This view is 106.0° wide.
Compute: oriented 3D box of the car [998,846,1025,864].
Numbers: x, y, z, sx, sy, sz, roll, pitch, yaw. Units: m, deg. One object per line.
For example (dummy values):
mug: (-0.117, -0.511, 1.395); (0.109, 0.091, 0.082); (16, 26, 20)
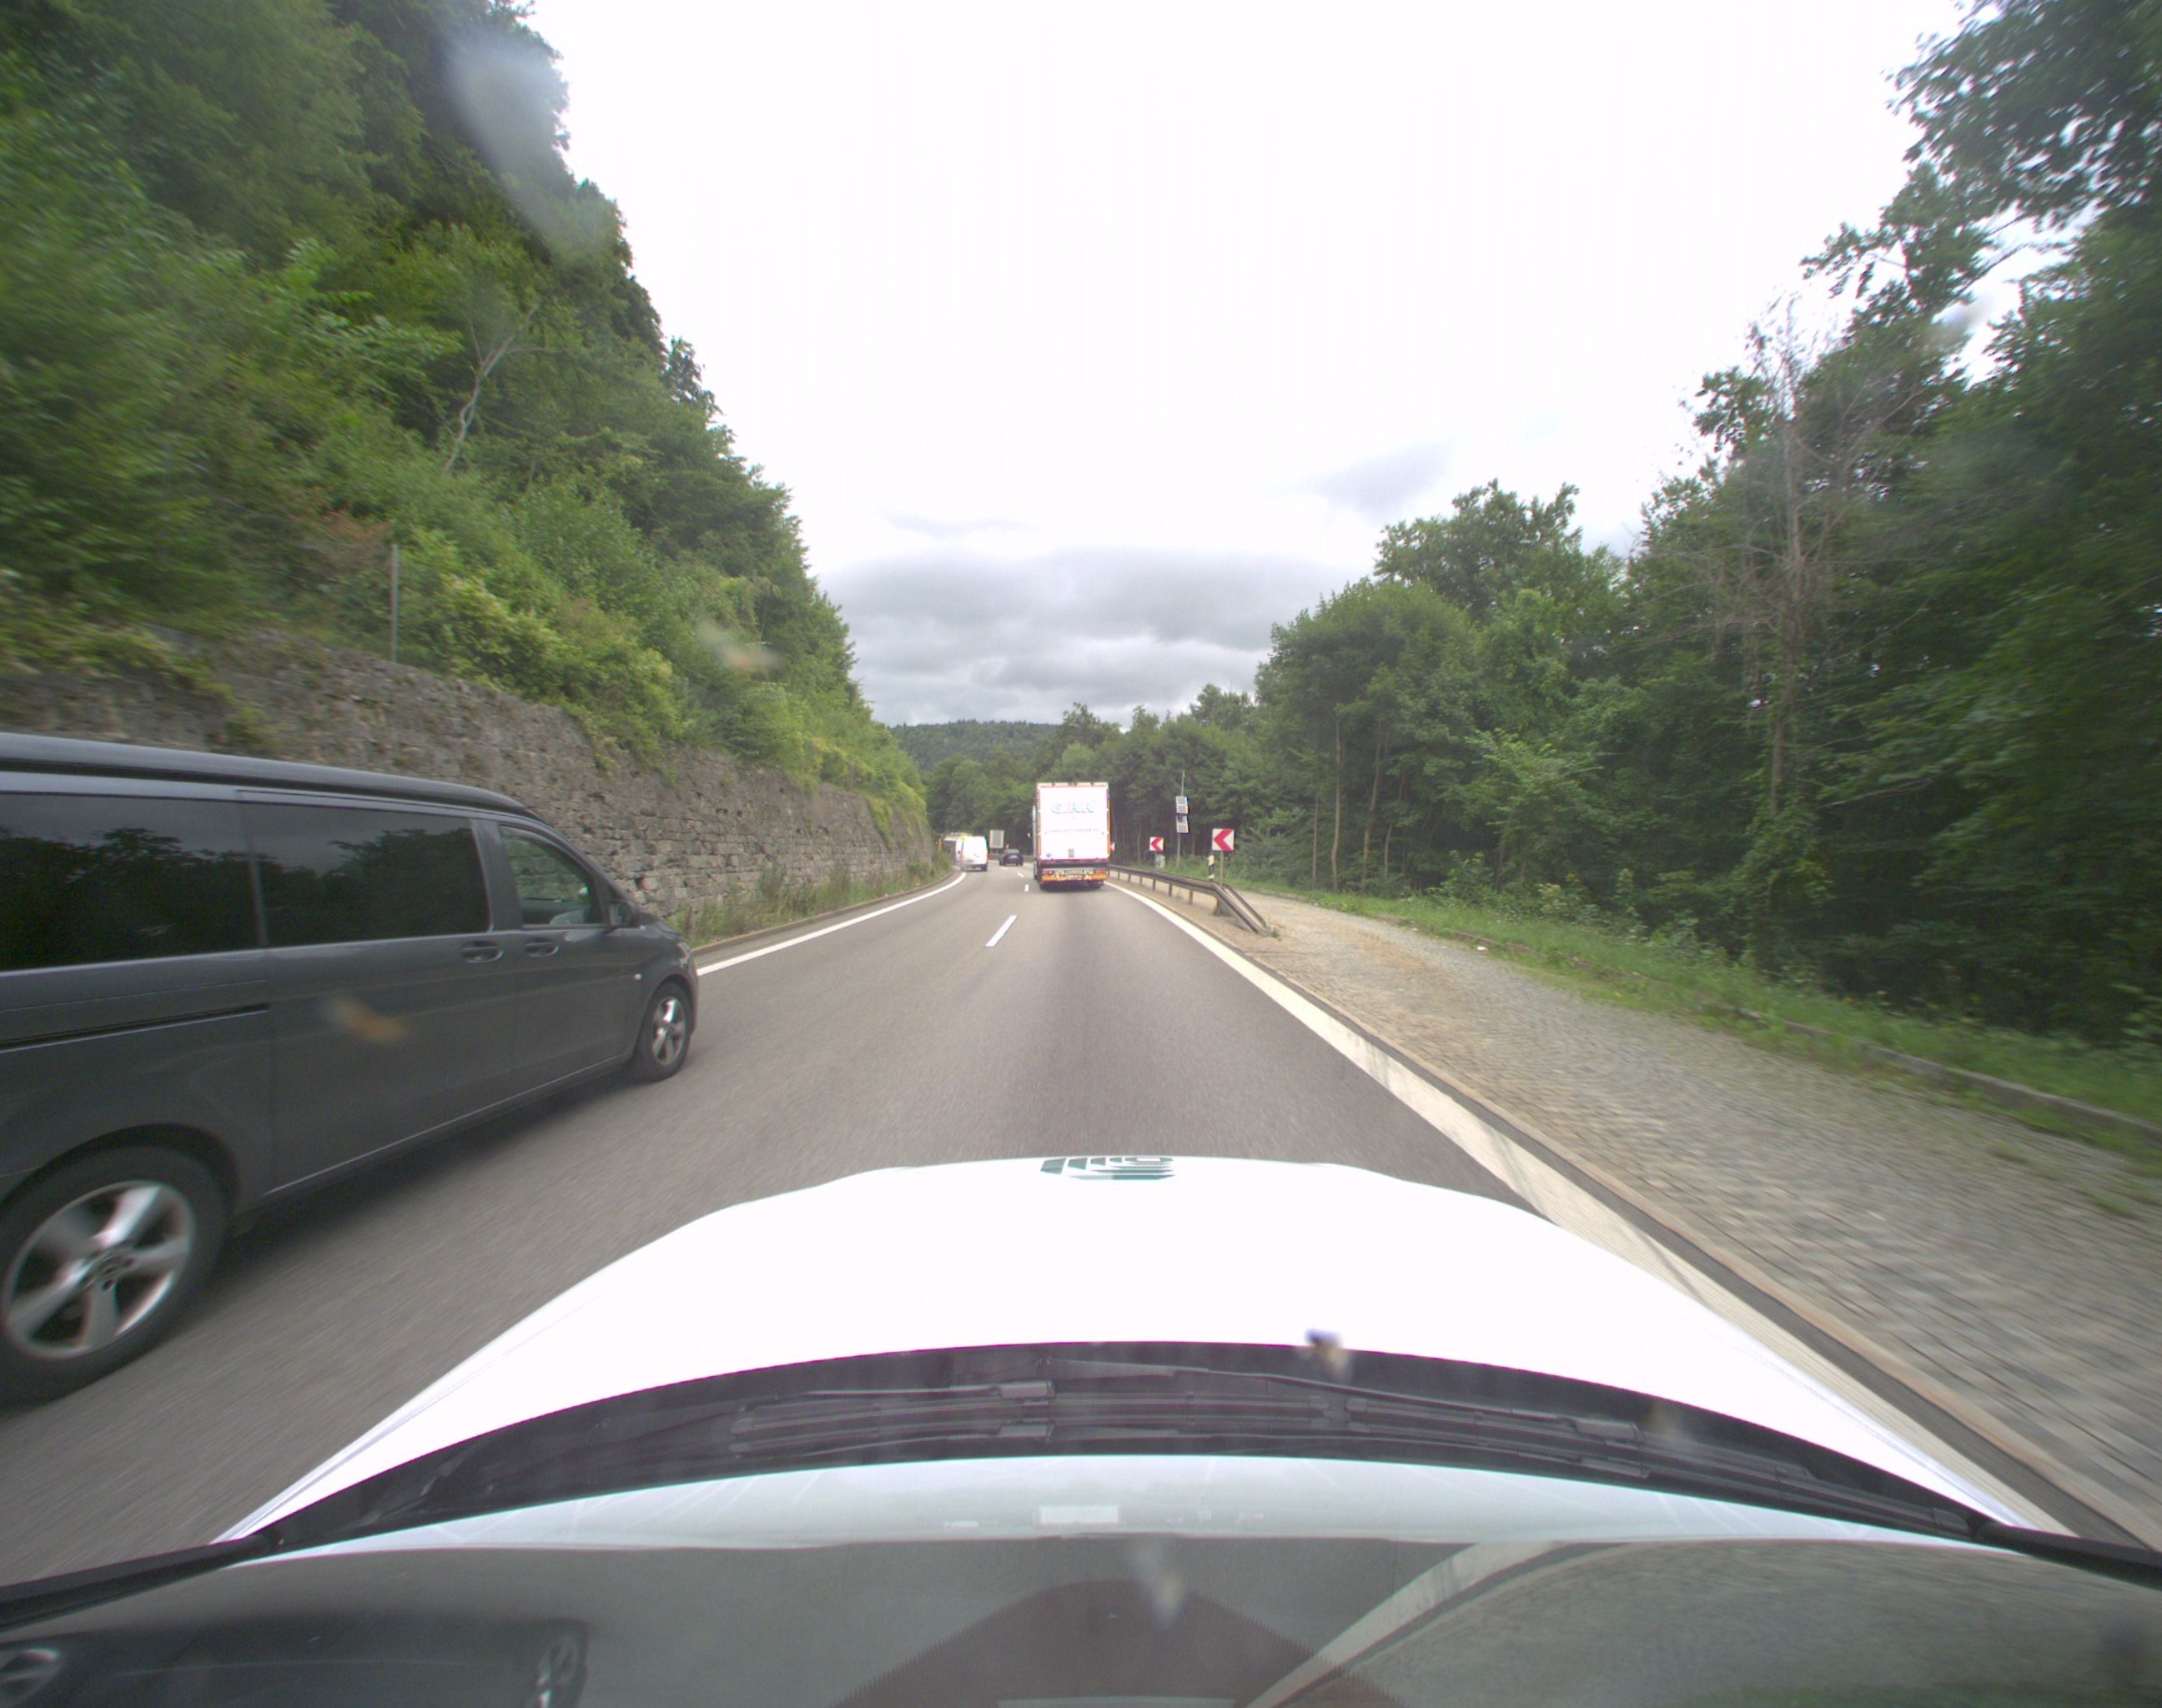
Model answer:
car: (-6.736, 0.084, 78.553); (1.995, 1.662, 3.983); (1, 0, -13)

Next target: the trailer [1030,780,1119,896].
trailer: (-0.610, -0.721, 34.799); (3.051, 3.985, 12.121); (2, 1, -4)

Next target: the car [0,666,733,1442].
car: (-3.800, 0.523, 3.713); (1.987, 2.013, 5.540); (-1, 0, 0)

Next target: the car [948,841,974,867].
car: (-12.826, -0.063, 86.949); (1.943, 2.672, 5.960); (1, 0, -15)

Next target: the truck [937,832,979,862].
truck: (-17.596, -1.011, 115.674); (3.068, 3.986, 13.604); (-2, 1, -20)

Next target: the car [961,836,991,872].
car: (-8.355, -0.040, 64.313); (1.989, 2.672, 6.913); (1, 0, -9)

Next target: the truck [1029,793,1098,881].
truck: (-1.035, -0.872, 41.189); (3.051, 3.985, 7.178); (2, 1, -4)
